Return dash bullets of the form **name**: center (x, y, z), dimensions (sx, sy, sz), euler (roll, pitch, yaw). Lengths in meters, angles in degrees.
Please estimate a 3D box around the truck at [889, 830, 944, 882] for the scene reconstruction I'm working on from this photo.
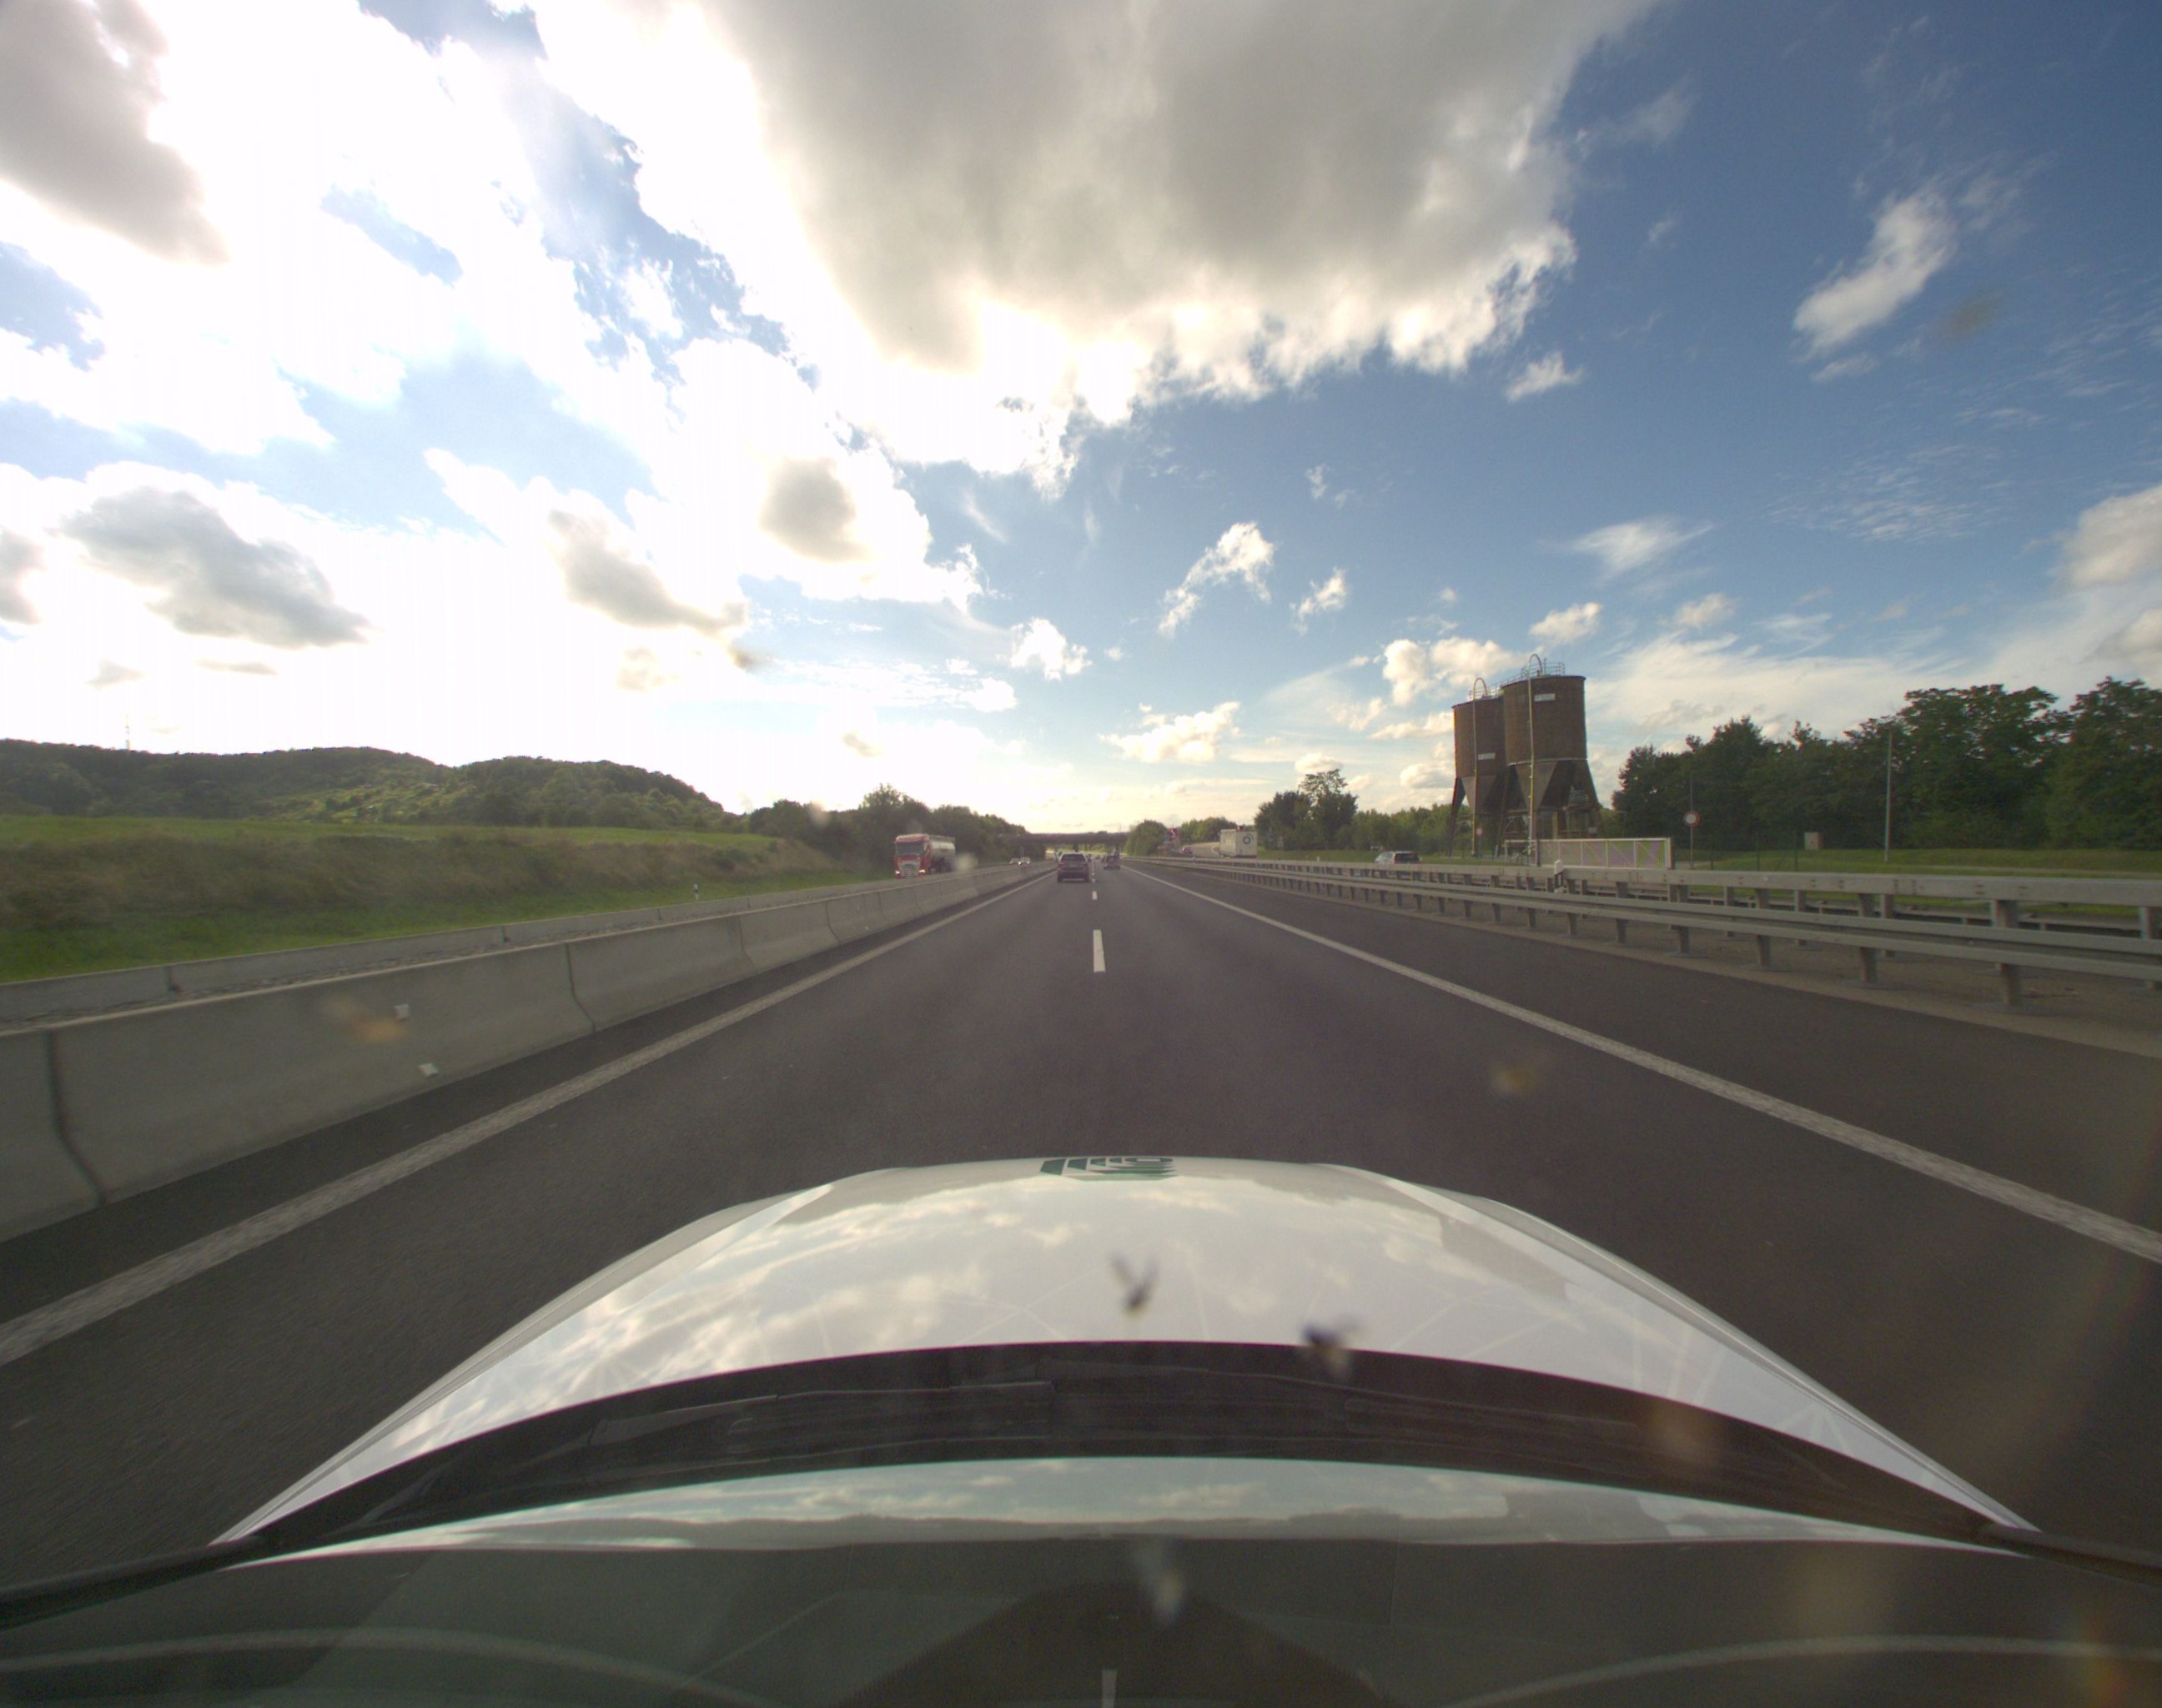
- **truck**: center (-13.450, 0.137, 67.316), dimensions (2.727, 3.924, 6.904), euler (-3, 0, 2)

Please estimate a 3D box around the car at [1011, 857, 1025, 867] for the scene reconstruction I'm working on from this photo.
- **car**: center (-11.026, 1.438, 143.200), dimensions (1.986, 1.717, 4.001), euler (-3, 0, 1)

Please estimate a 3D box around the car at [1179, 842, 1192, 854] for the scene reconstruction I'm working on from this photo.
- **car**: center (18.454, -1.029, 143.485), dimensions (1.984, 2.013, 4.006), euler (-3, 0, 5)

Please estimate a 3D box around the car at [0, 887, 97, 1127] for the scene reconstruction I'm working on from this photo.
- **car**: center (-10.284, 1.346, 5.284), dimensions (1.986, 2.013, 4.679), euler (-2, 0, 2)

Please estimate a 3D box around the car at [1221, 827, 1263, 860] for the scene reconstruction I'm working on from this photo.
- **car**: center (19.667, -1.239, 100.084), dimensions (3.564, 3.676, 7.550), euler (-3, 0, 1)

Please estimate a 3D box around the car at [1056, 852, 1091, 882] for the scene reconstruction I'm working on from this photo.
- **car**: center (-0.409, 0.736, 47.674), dimensions (1.743, 1.630, 3.611), euler (-3, 0, 2)

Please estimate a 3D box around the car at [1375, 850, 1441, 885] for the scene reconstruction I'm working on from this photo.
- **car**: center (17.877, 0.710, 44.741), dimensions (1.986, 1.717, 4.001), euler (-3, 0, 1)

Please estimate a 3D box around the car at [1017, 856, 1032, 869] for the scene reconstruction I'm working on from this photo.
- **car**: center (-8.553, 1.303, 123.070), dimensions (1.801, 1.832, 4.398), euler (-3, 0, 2)

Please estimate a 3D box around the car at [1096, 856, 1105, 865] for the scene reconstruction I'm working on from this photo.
- **car**: center (4.216, 1.357, 175.871), dimensions (1.968, 1.779, 4.120), euler (-3, 0, 1)

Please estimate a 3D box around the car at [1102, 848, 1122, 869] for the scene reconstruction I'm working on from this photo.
- **car**: center (3.387, 0.452, 88.268), dimensions (1.986, 2.080, 4.001), euler (-3, 0, 1)

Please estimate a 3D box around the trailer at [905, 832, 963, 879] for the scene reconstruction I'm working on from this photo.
- **trailer**: center (-13.246, 0.121, 74.473), dimensions (2.703, 3.887, 11.165), euler (-3, 0, 2)
